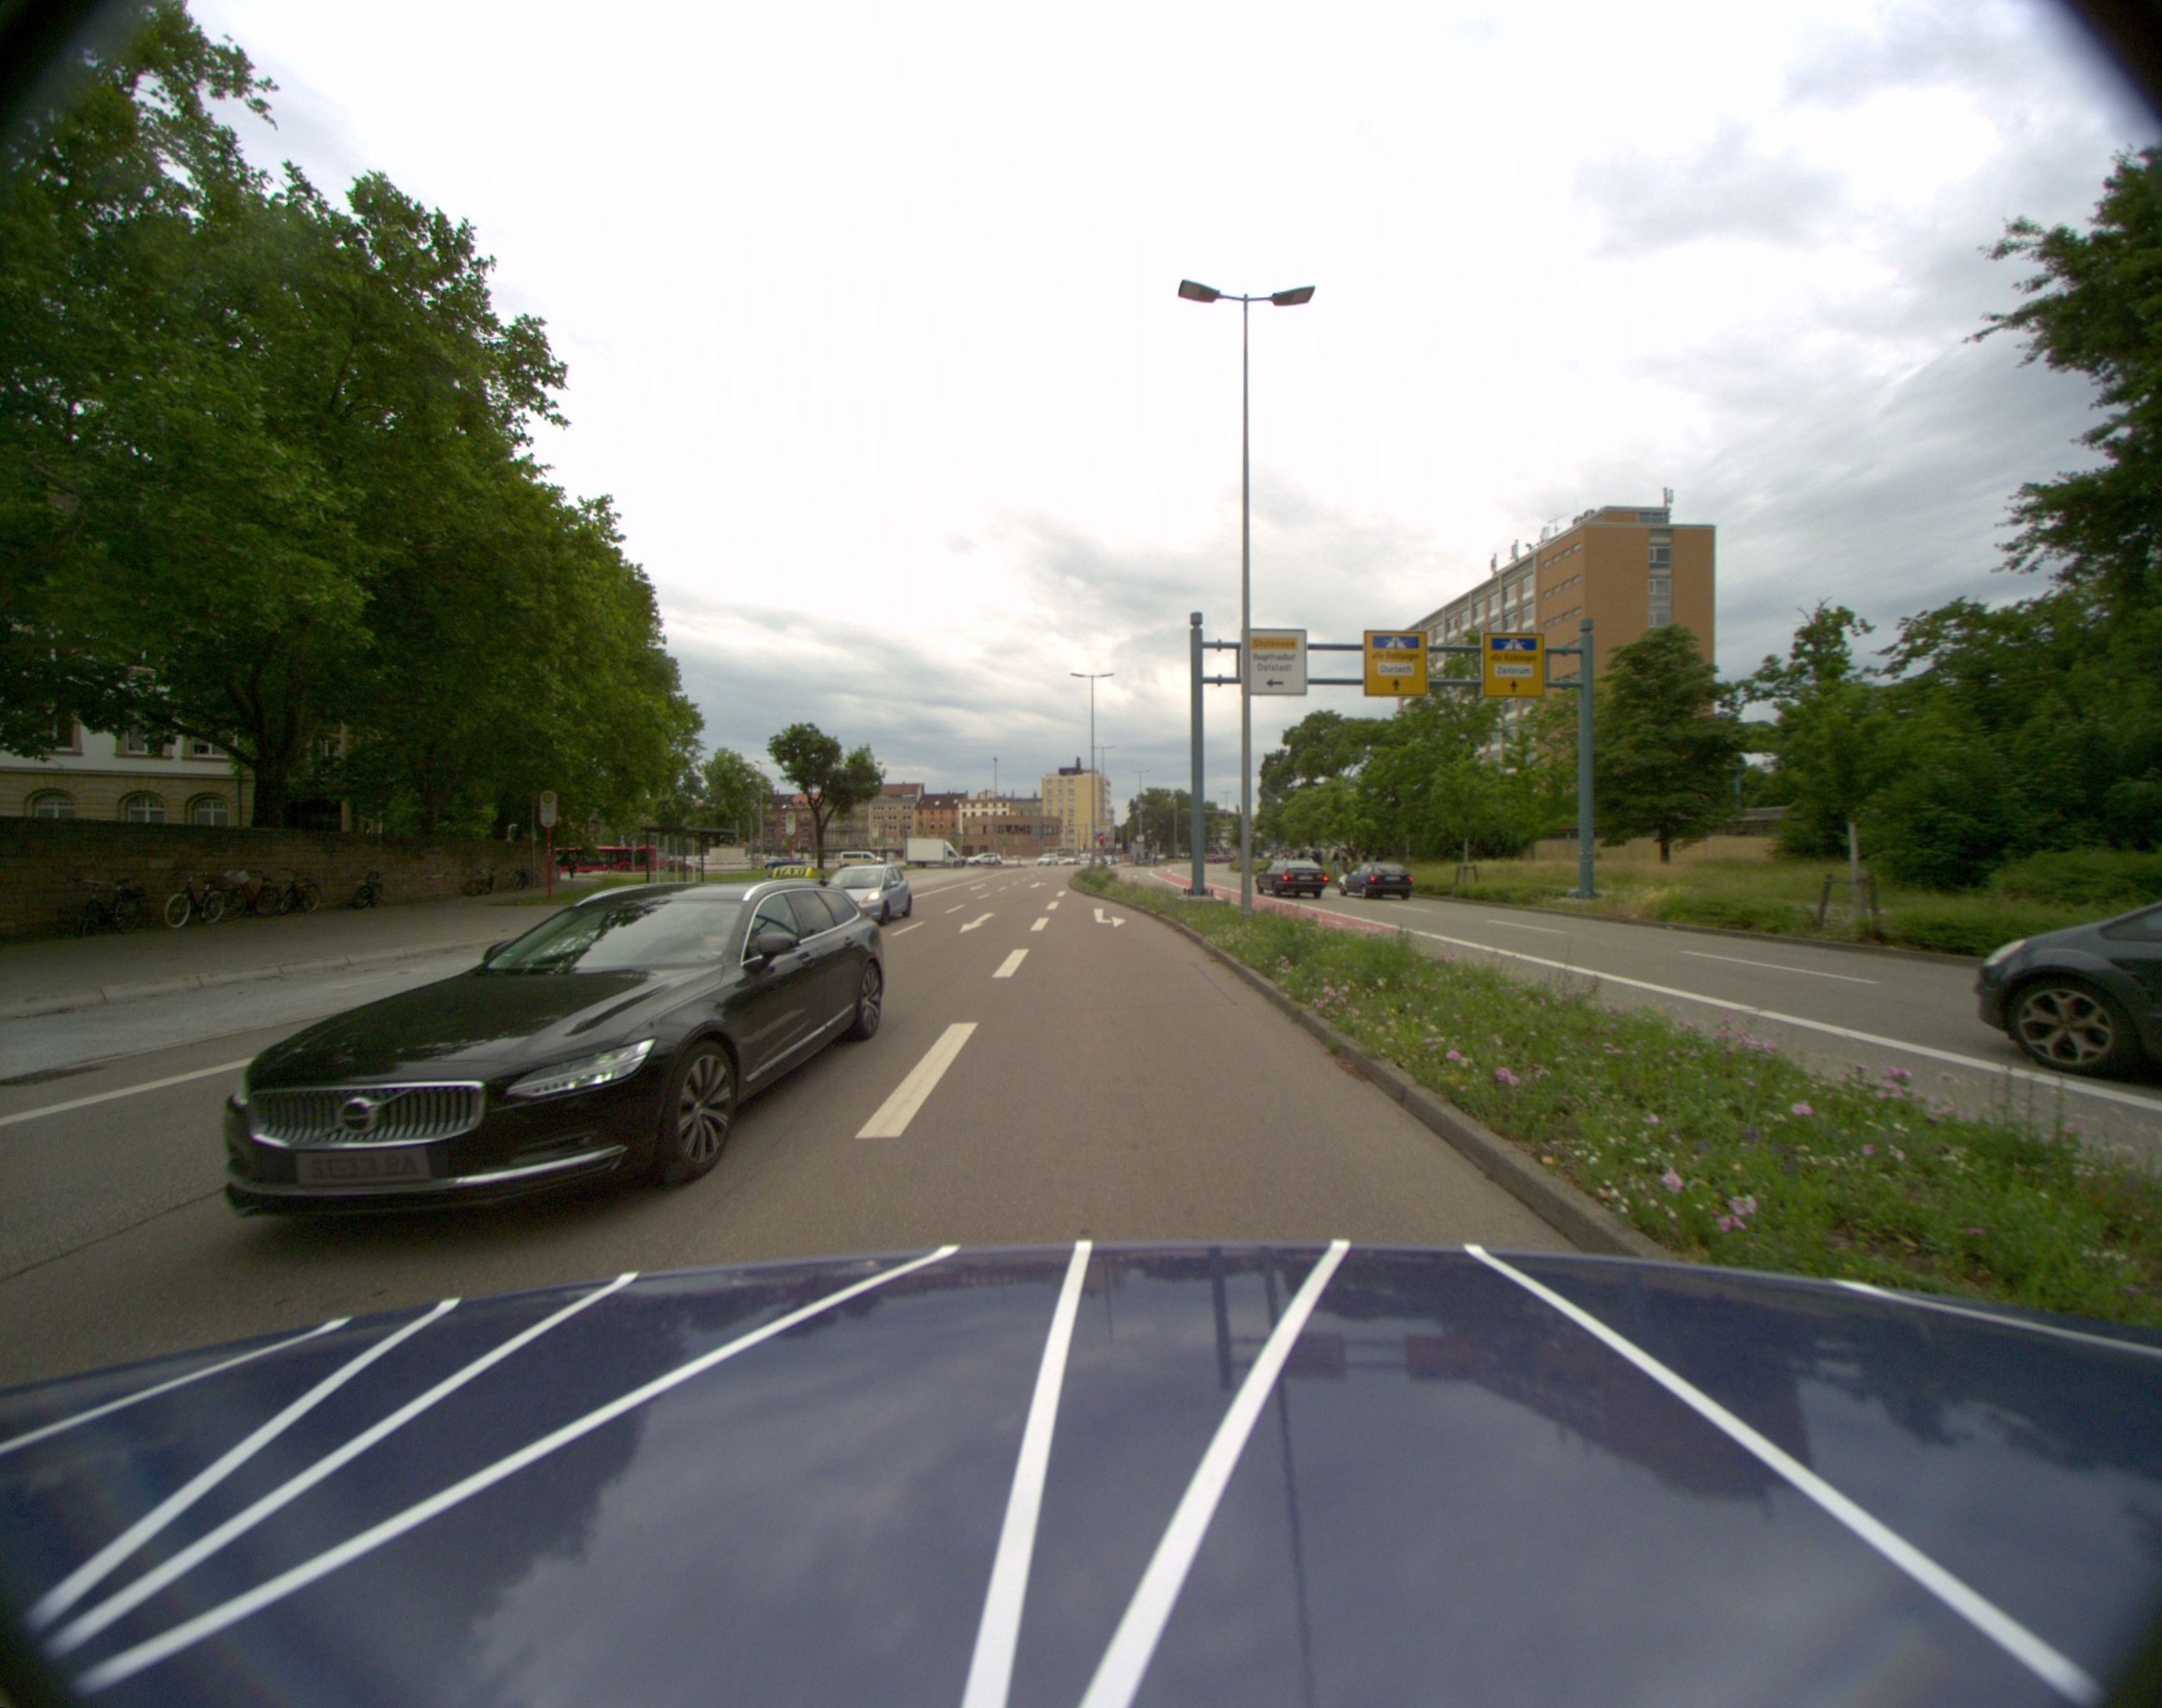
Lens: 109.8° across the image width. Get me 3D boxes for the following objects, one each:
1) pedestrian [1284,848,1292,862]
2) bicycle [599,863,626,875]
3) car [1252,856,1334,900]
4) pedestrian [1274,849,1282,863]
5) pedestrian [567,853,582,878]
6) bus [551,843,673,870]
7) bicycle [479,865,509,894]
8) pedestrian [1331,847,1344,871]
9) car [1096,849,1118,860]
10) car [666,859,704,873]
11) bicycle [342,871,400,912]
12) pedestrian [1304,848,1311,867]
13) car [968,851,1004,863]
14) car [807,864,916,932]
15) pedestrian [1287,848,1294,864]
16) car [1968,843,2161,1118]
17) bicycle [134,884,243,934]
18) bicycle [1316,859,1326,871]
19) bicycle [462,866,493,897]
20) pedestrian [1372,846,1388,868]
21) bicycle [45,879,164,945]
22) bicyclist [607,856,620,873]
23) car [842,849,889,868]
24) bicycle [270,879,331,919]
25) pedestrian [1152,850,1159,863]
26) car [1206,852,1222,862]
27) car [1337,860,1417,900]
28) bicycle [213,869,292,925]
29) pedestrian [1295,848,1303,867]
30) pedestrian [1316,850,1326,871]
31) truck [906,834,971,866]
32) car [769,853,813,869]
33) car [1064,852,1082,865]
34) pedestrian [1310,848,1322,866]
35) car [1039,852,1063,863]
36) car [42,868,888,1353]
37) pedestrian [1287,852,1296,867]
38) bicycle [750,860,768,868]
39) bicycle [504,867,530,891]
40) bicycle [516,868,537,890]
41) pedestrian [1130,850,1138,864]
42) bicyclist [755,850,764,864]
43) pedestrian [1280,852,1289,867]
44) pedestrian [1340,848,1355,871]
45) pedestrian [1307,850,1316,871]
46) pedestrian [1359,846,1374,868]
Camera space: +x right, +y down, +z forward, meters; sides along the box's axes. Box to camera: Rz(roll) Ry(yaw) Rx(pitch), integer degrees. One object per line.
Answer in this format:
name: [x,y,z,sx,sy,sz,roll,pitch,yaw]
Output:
pedestrian: [24.329,0.093,89.299,0.708,1.661,0.890,-2,0,4]
bicycle: [-50.229,1.617,81.524,2.391,1.316,0.764,1,0,-6]
car: [7.976,0.834,29.059,1.768,1.452,4.791,1,1,0]
pedestrian: [23.212,0.196,89.375,0.708,1.661,0.943,-1,0,4]
pedestrian: [-35.478,0.783,53.216,0.759,1.725,0.820,1,1,-39]
bus: [-54.708,0.245,88.876,12.091,2.891,2.937,-1,0,-3]
bicycle: [-24.272,1.048,31.437,0.596,1.123,1.709,1,0,-25]
pedestrian: [18.149,0.360,53.709,0.587,1.650,0.720,1,0,-5]
car: [3.804,0.091,110.509,1.837,1.465,3.718,1,0,25]
car: [-43.783,1.344,84.106,3.431,1.372,1.288,-1,-7,-5]
bicycle: [-20.493,1.057,21.958,0.599,1.098,1.652,1,0,-19]
pedestrian: [20.289,0.292,68.080,0.579,1.702,0.763,1,0,18]
car: [-11.566,0.350,92.589,4.040,1.466,1.816,1,0,-33]
car: [-5.484,1.058,19.474,1.671,1.457,3.659,-1,1,0]
pedestrian: [23.326,0.190,84.691,0.638,1.790,0.762,-1,0,4]
car: [7.472,0.798,3.362,1.925,1.655,4.398,1,1,1]
bicycle: [-19.027,1.148,16.253,0.656,0.945,1.767,1,0,-17]
bicycle: [18.644,0.869,59.085,0.661,0.882,1.717,1,0,16]
bicycle: [-23.661,1.063,29.812,0.596,1.129,1.709,1,0,-25]
pedestrian: [18.497,0.204,46.988,0.646,1.354,0.680,1,0,-2]
bicycle: [-18.434,1.058,14.404,0.722,1.093,1.788,1,0,-28]
bicyclist: [-50.184,1.106,81.528,0.896,1.849,0.764,1,0,-5]
car: [-24.085,0.476,85.077,4.712,1.909,1.919,-1,3,-3]
bicycle: [-20.045,1.128,19.540,0.417,0.937,1.523,1,0,-17]
pedestrian: [9.850,0.310,100.114,0.777,1.657,0.706,1,0,-8]
car: [22.833,0.465,130.315,1.812,1.657,3.955,1,1,23]
car: [11.122,0.940,28.850,1.611,1.373,3.809,1,0,1]
bicycle: [-19.575,0.991,17.991,0.501,1.214,1.624,1,0,-17]
pedestrian: [19.578,0.314,68.315,0.622,1.685,0.747,1,0,18]
pedestrian: [18.650,0.480,59.082,0.661,1.622,0.764,1,0,16]
truck: [-15.999,-0.485,85.648,6.852,3.393,2.559,-1,2,-5]
car: [-34.164,0.843,89.629,4.430,1.735,1.764,1,0,-4]
car: [-1.137,0.659,107.697,1.836,1.753,3.914,1,0,10]
pedestrian: [21.376,0.297,69.157,0.635,1.603,0.829,-2,0,-21]
car: [-3.873,0.452,98.882,1.515,1.382,3.438,1,0,28]
car: [-2.787,0.971,4.982,1.888,1.591,4.446,-2,0,-1]
pedestrian: [20.721,0.529,74.789,0.637,1.471,0.762,1,0,5]
bicycle: [-34.869,1.083,82.230,1.695,0.910,0.767,1,0,-10]
bicycle: [-25.648,1.123,34.570,0.596,1.053,1.709,1,0,-25]
bicycle: [-26.360,1.173,36.140,0.552,0.986,1.633,1,0,-28]
pedestrian: [6.892,0.390,99.633,0.917,1.794,0.541,1,0,17]
bicyclist: [-34.818,0.345,82.240,0.740,1.499,0.767,1,0,-10]
pedestrian: [19.980,0.522,74.672,0.730,1.471,0.813,1,0,4]
pedestrian: [18.861,0.385,53.721,0.709,1.663,0.767,1,0,-5]
pedestrian: [17.950,0.495,59.177,0.575,1.599,0.617,1,0,16]
pedestrian: [17.695,0.201,47.041,0.646,1.350,0.711,1,0,-1]
